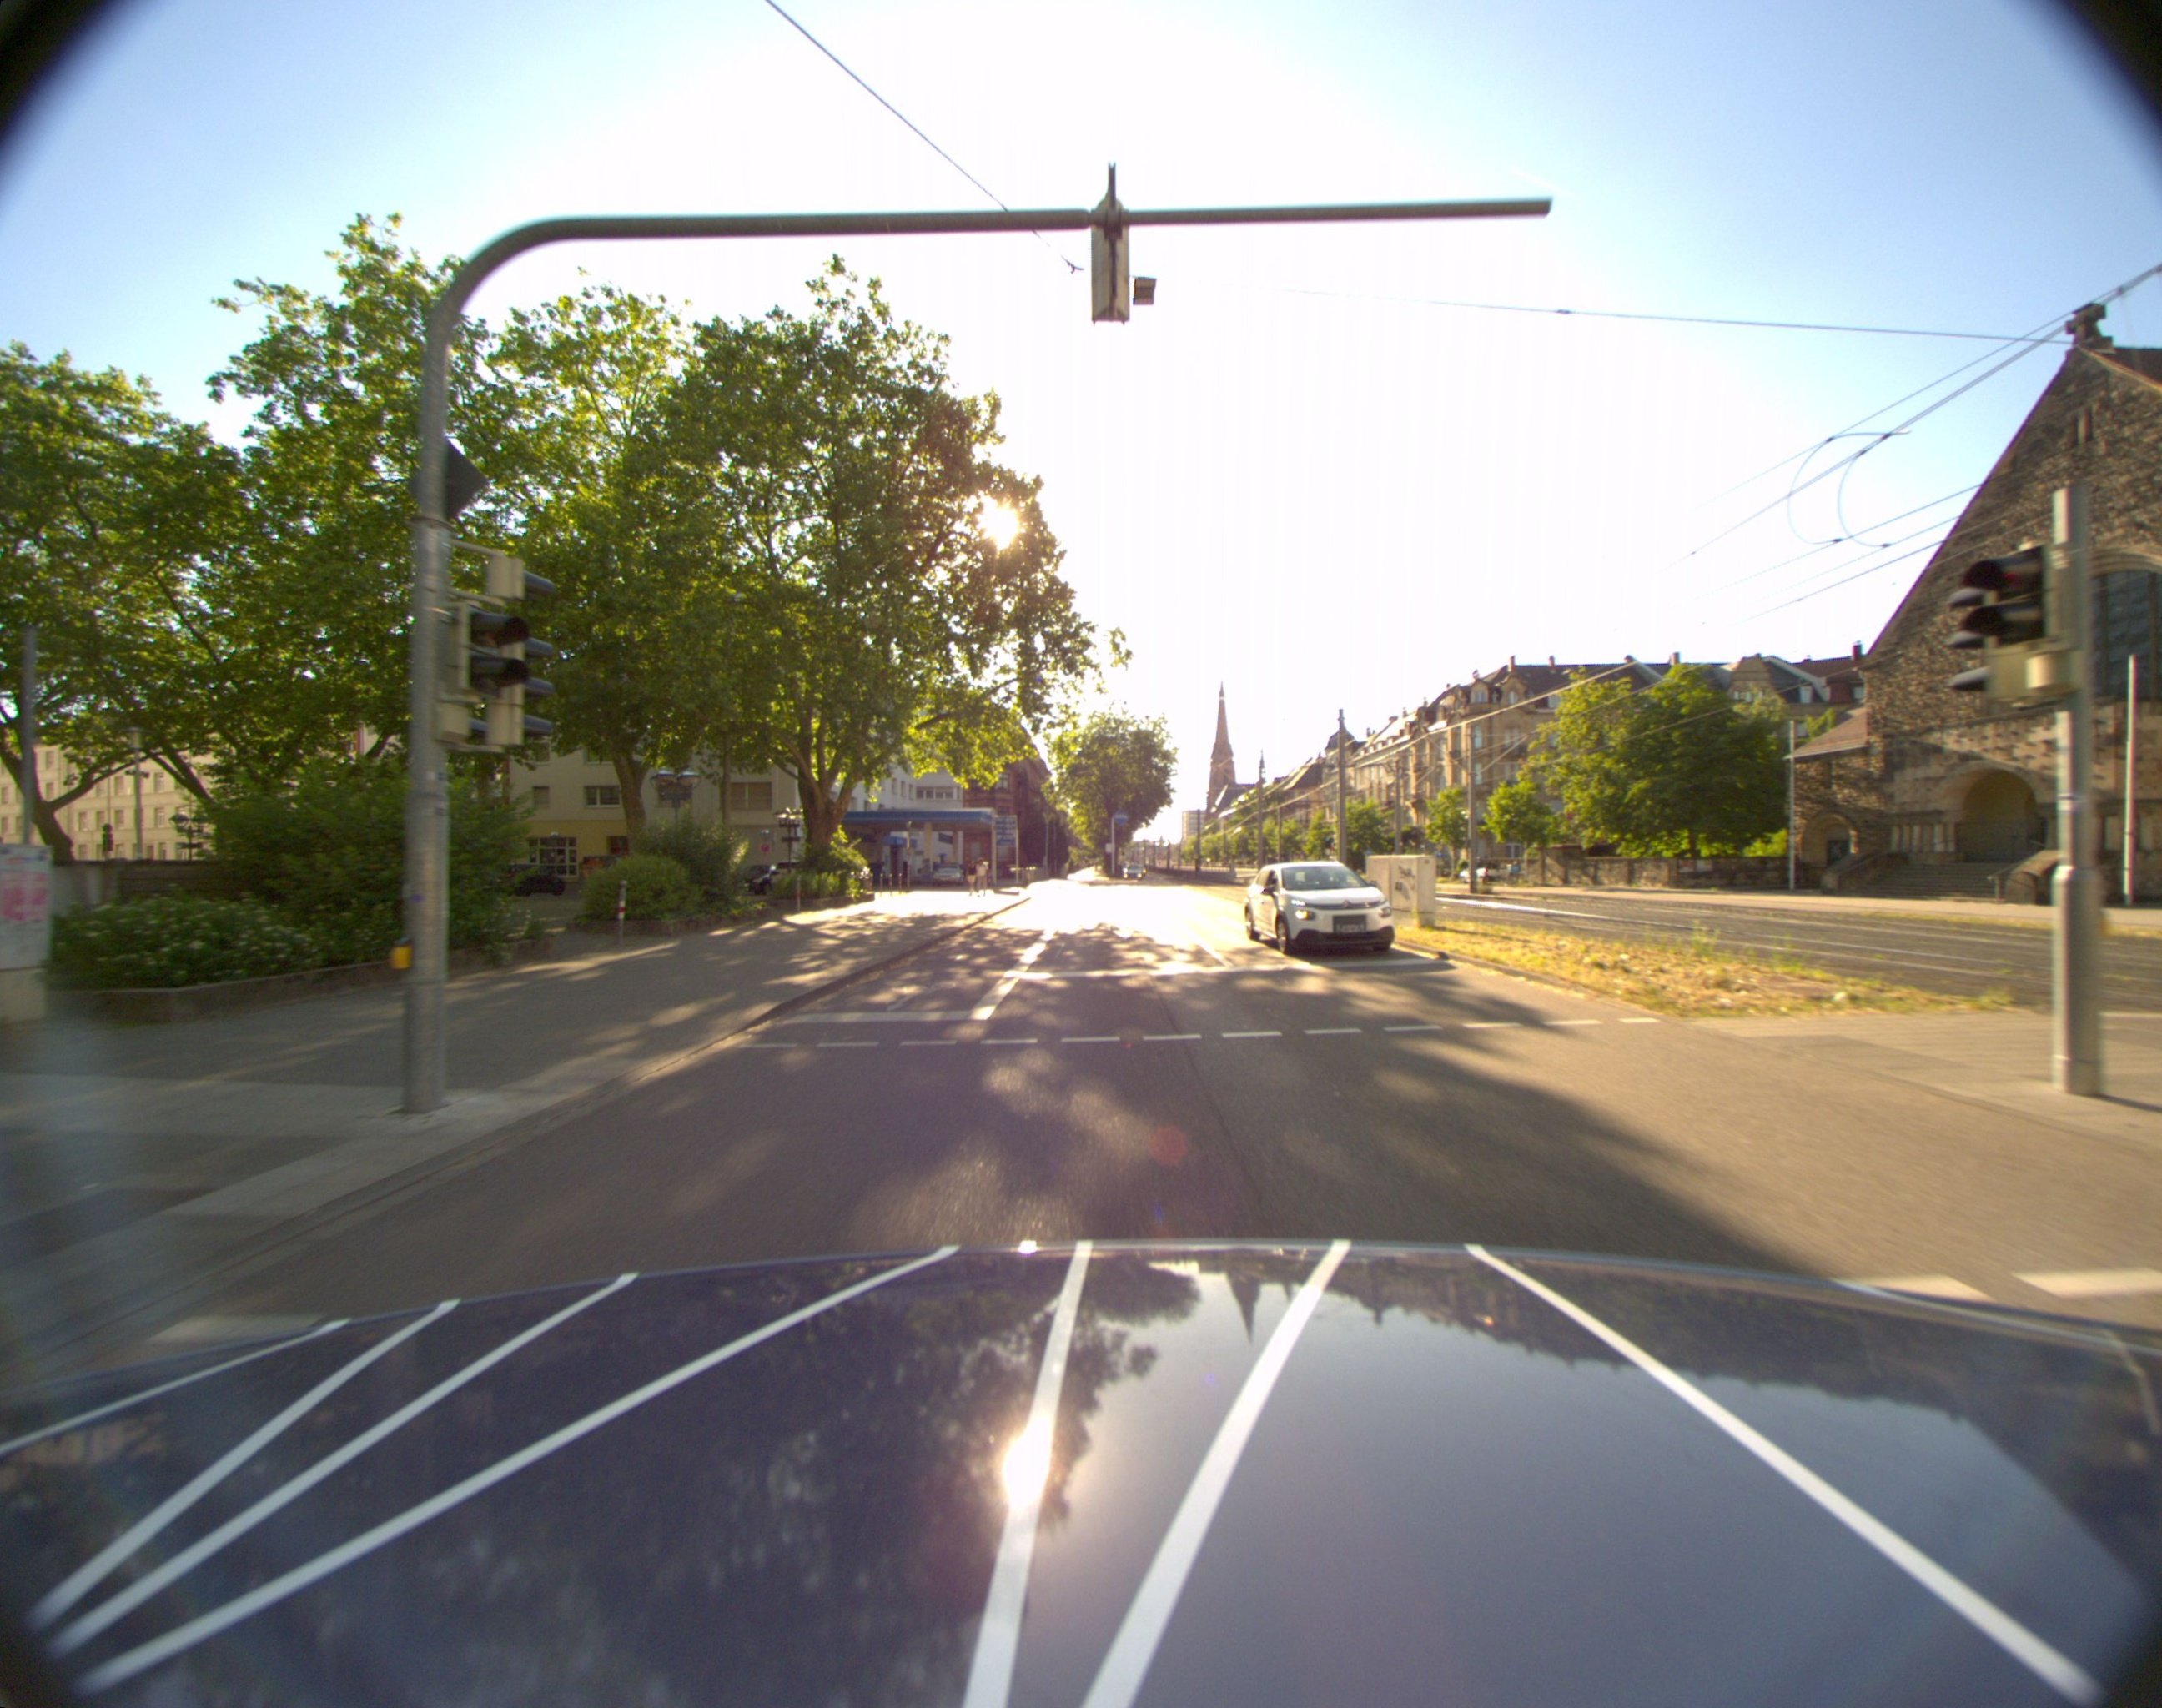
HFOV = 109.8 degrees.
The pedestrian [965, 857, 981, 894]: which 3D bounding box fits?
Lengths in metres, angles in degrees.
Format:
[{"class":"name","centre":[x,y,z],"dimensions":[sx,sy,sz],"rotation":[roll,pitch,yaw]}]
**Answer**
[{"class":"pedestrian","centre":[-5.381,1.074,37.951],"dimensions":[0.631,1.833,0.540],"rotation":[-2,0,0]}]

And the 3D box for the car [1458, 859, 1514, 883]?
[{"class":"car","centre":[28.520,1.194,53.628],"dimensions":[1.786,1.521,4.214],"rotation":[-2,0,2]}]

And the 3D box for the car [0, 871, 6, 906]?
[{"class":"car","centre":[-45.336,1.482,29.763],"dimensions":[3.996,1.400,1.779],"rotation":[-2,0,2]}]

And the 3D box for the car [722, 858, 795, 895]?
[{"class":"car","centre":[-15.483,1.047,36.757],"dimensions":[1.806,1.649,4.180],"rotation":[-1,-1,-1]}]

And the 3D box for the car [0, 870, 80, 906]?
[{"class":"car","centre":[-45.445,1.491,32.105],"dimensions":[3.996,1.400,1.779],"rotation":[-2,0,2]}]

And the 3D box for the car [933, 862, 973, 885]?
[{"class":"car","centre":[-8.135,1.216,48.562],"dimensions":[1.720,1.319,3.754],"rotation":[-2,0,2]}]

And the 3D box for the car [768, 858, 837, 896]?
[{"class":"car","centre":[-13.288,1.080,36.513],"dimensions":[1.806,1.649,4.180],"rotation":[-1,-1,-1]}]

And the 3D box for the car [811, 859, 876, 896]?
[{"class":"car","centre":[-11.152,1.084,35.969],"dimensions":[1.806,1.591,4.180],"rotation":[-1,-1,-1]}]

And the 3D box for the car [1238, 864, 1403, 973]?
[{"class":"car","centre":[3.930,0.981,13.163],"dimensions":[1.636,1.491,4.000],"rotation":[-2,0,1]}]

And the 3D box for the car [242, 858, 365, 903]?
[{"class":"car","centre":[-37.369,1.241,36.685],"dimensions":[1.710,2.015,4.180],"rotation":[-1,-1,-1]}]

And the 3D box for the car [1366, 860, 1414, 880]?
[{"class":"car","centre":[23.836,1.213,58.846],"dimensions":[1.998,1.419,4.554],"rotation":[1,0,2]}]

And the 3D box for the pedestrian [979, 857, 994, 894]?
[{"class":"pedestrian","centre":[-4.723,1.059,37.956],"dimensions":[0.631,1.833,0.540],"rotation":[-2,0,0]}]

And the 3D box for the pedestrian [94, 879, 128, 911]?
[{"class":"pedestrian","centre":[-38.672,1.635,30.299],"dimensions":[0.632,1.219,0.539],"rotation":[-2,0,-24]}]

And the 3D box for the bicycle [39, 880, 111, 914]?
[{"class":"bicycle","centre":[-39.430,1.664,29.805],"dimensions":[0.630,1.219,1.558],"rotation":[-2,0,10]}]

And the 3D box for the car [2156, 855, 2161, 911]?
[{"class":"car","centre":[33.331,0.756,21.184],"dimensions":[4.040,1.621,1.768],"rotation":[-2,0,2]}]

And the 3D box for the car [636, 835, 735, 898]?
[{"class":"car","centre":[-18.608,0.576,36.065],"dimensions":[1.998,2.726,4.715],"rotation":[-2,0,2]}]
